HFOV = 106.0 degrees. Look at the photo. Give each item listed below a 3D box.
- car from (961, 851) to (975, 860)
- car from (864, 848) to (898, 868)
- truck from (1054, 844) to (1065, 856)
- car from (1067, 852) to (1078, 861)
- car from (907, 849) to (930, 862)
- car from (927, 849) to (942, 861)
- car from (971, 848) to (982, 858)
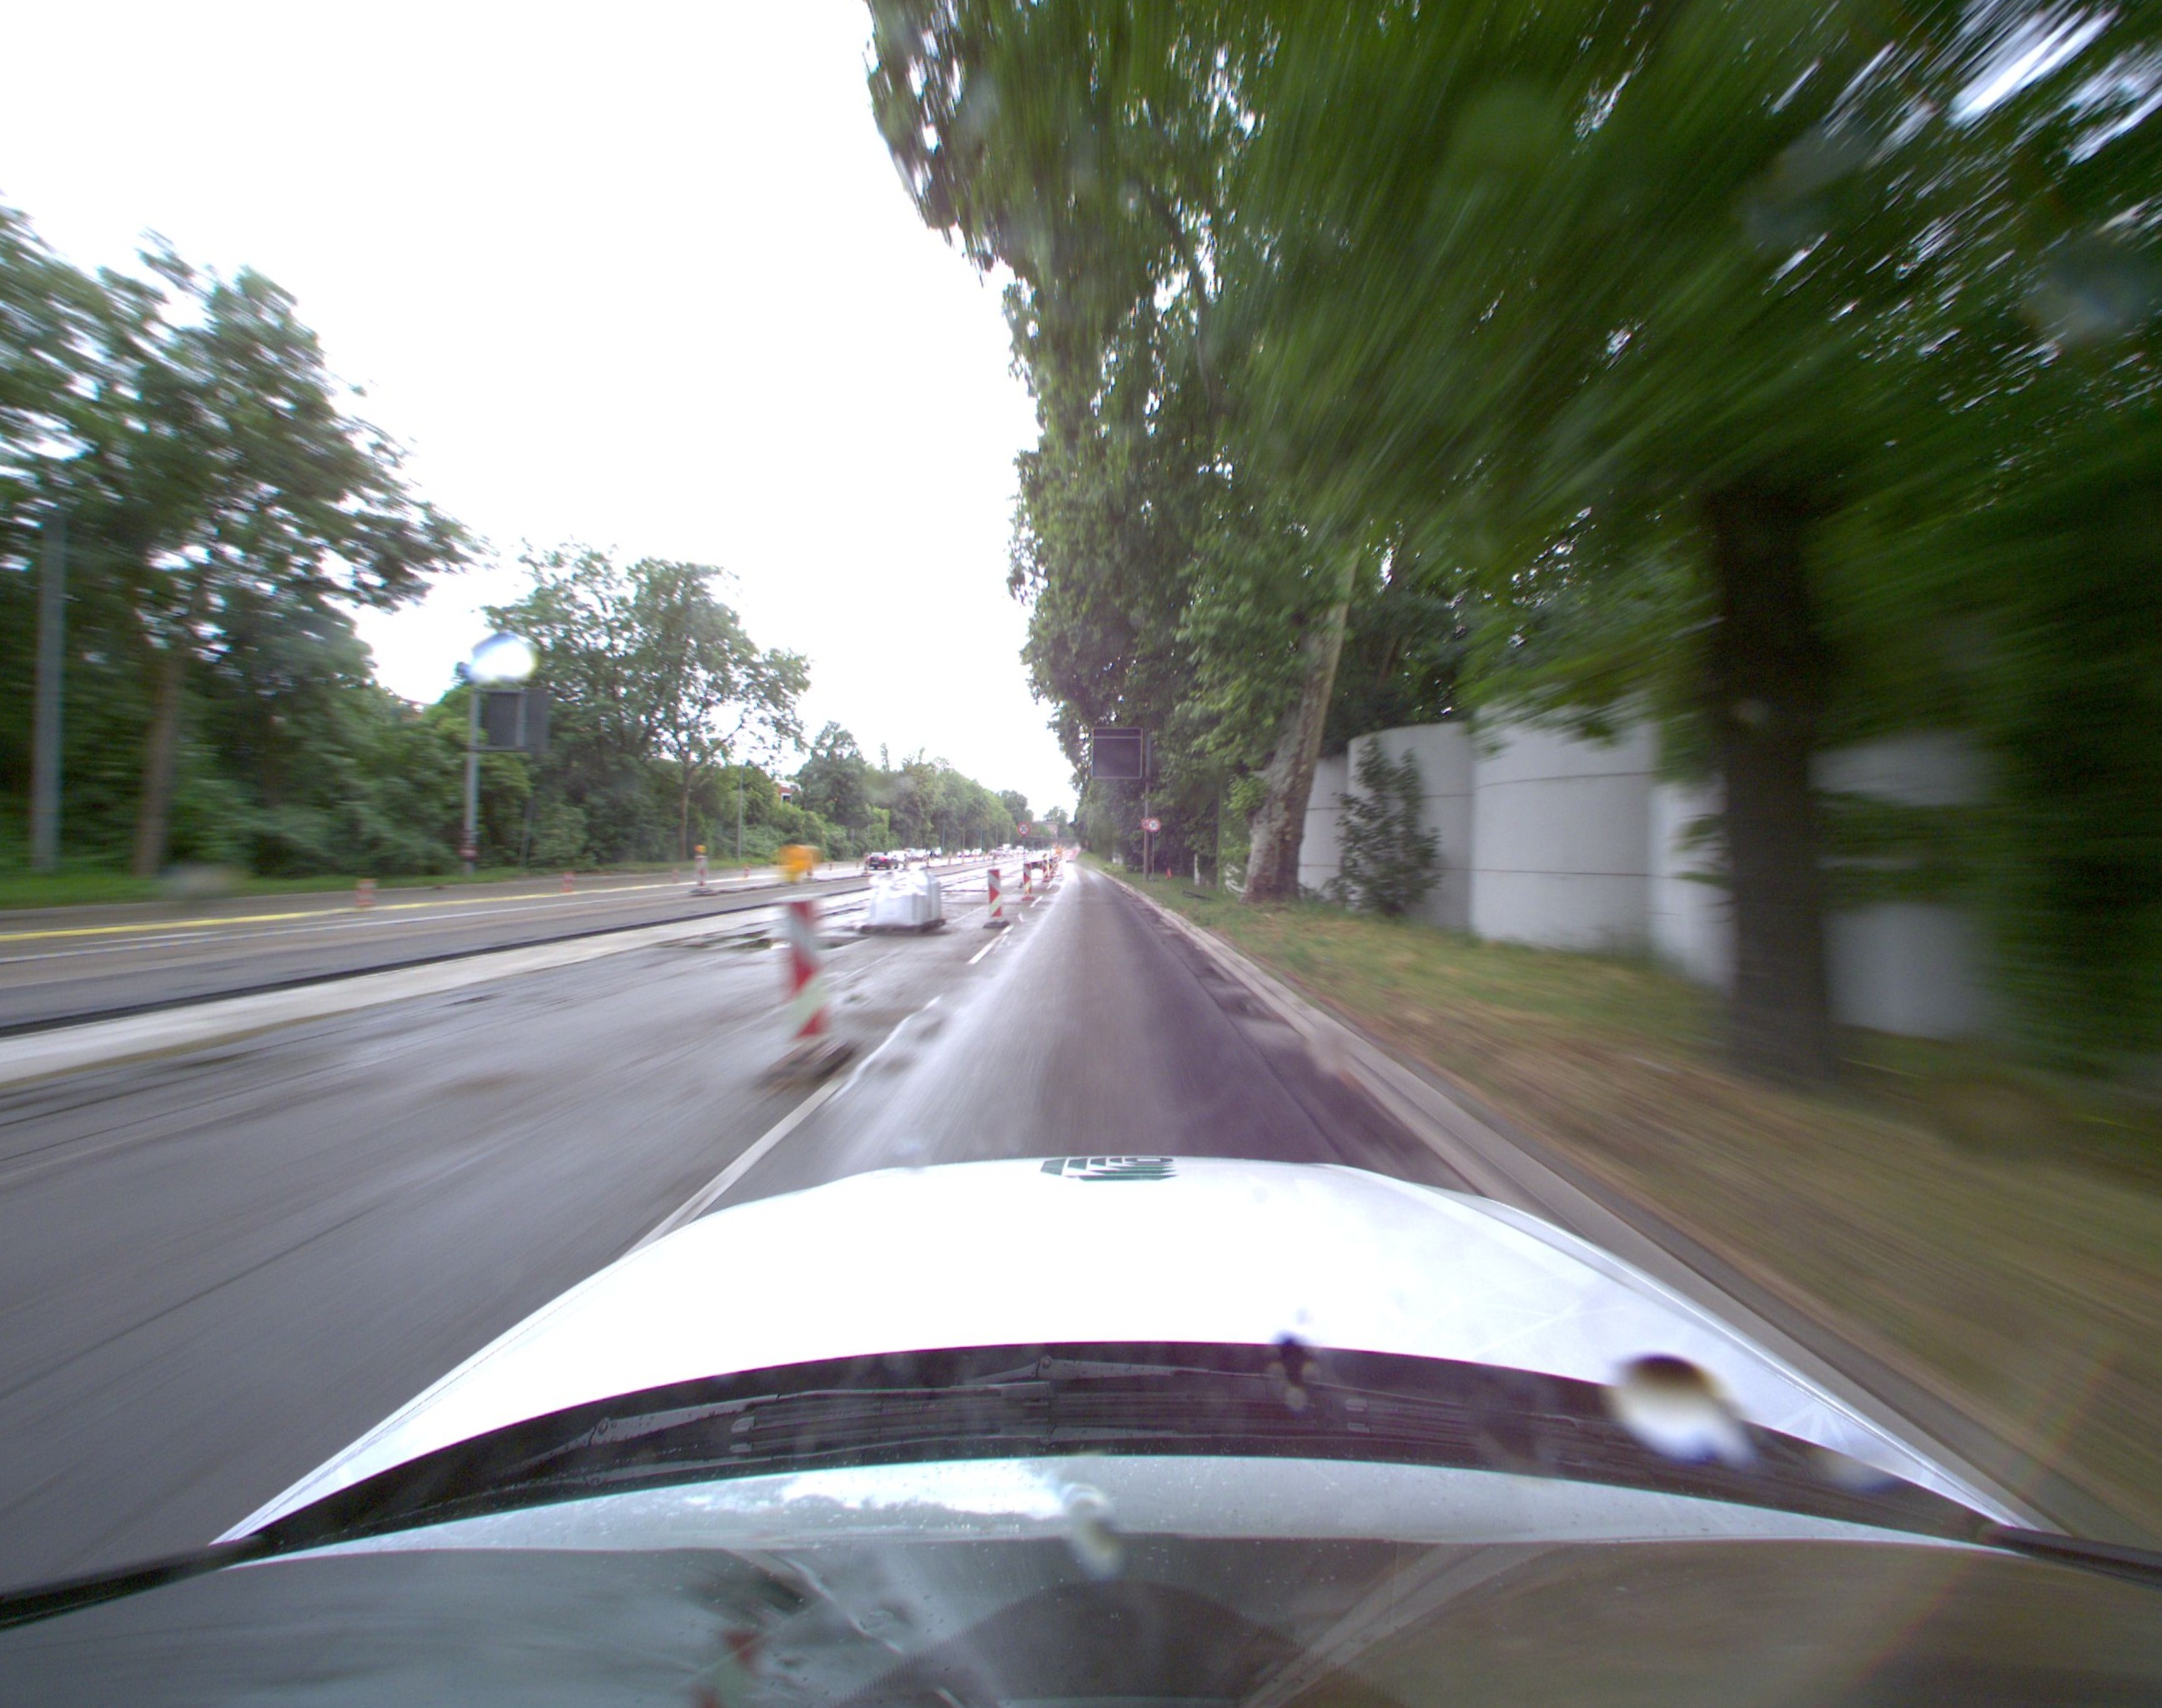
[{"bbox_3d":[-19.569,0.195,141.335,1.756,1.483,4.896,1,0,-2],"label":"car"},{"bbox_3d":[-15.131,0.265,61.842,1.603,1.404,4.039,1,0,-1],"label":"car"},{"bbox_3d":[-6.816,-1.292,256.928,3.250,3.497,13.863,1,0,-1],"label":"truck"},{"bbox_3d":[-1.380,0.416,135.453,1.692,1.336,3.490,-1,0,0],"label":"car"},{"bbox_3d":[-18.027,0.128,90.581,1.813,1.355,4.203,-1,0,-1],"label":"car"},{"bbox_3d":[-22.541,0.168,125.488,1.648,1.685,4.531,2,0,-1],"label":"car"},{"bbox_3d":[-20.497,-0.190,160.192,1.730,1.722,4.491,1,0,-2],"label":"car"}]
